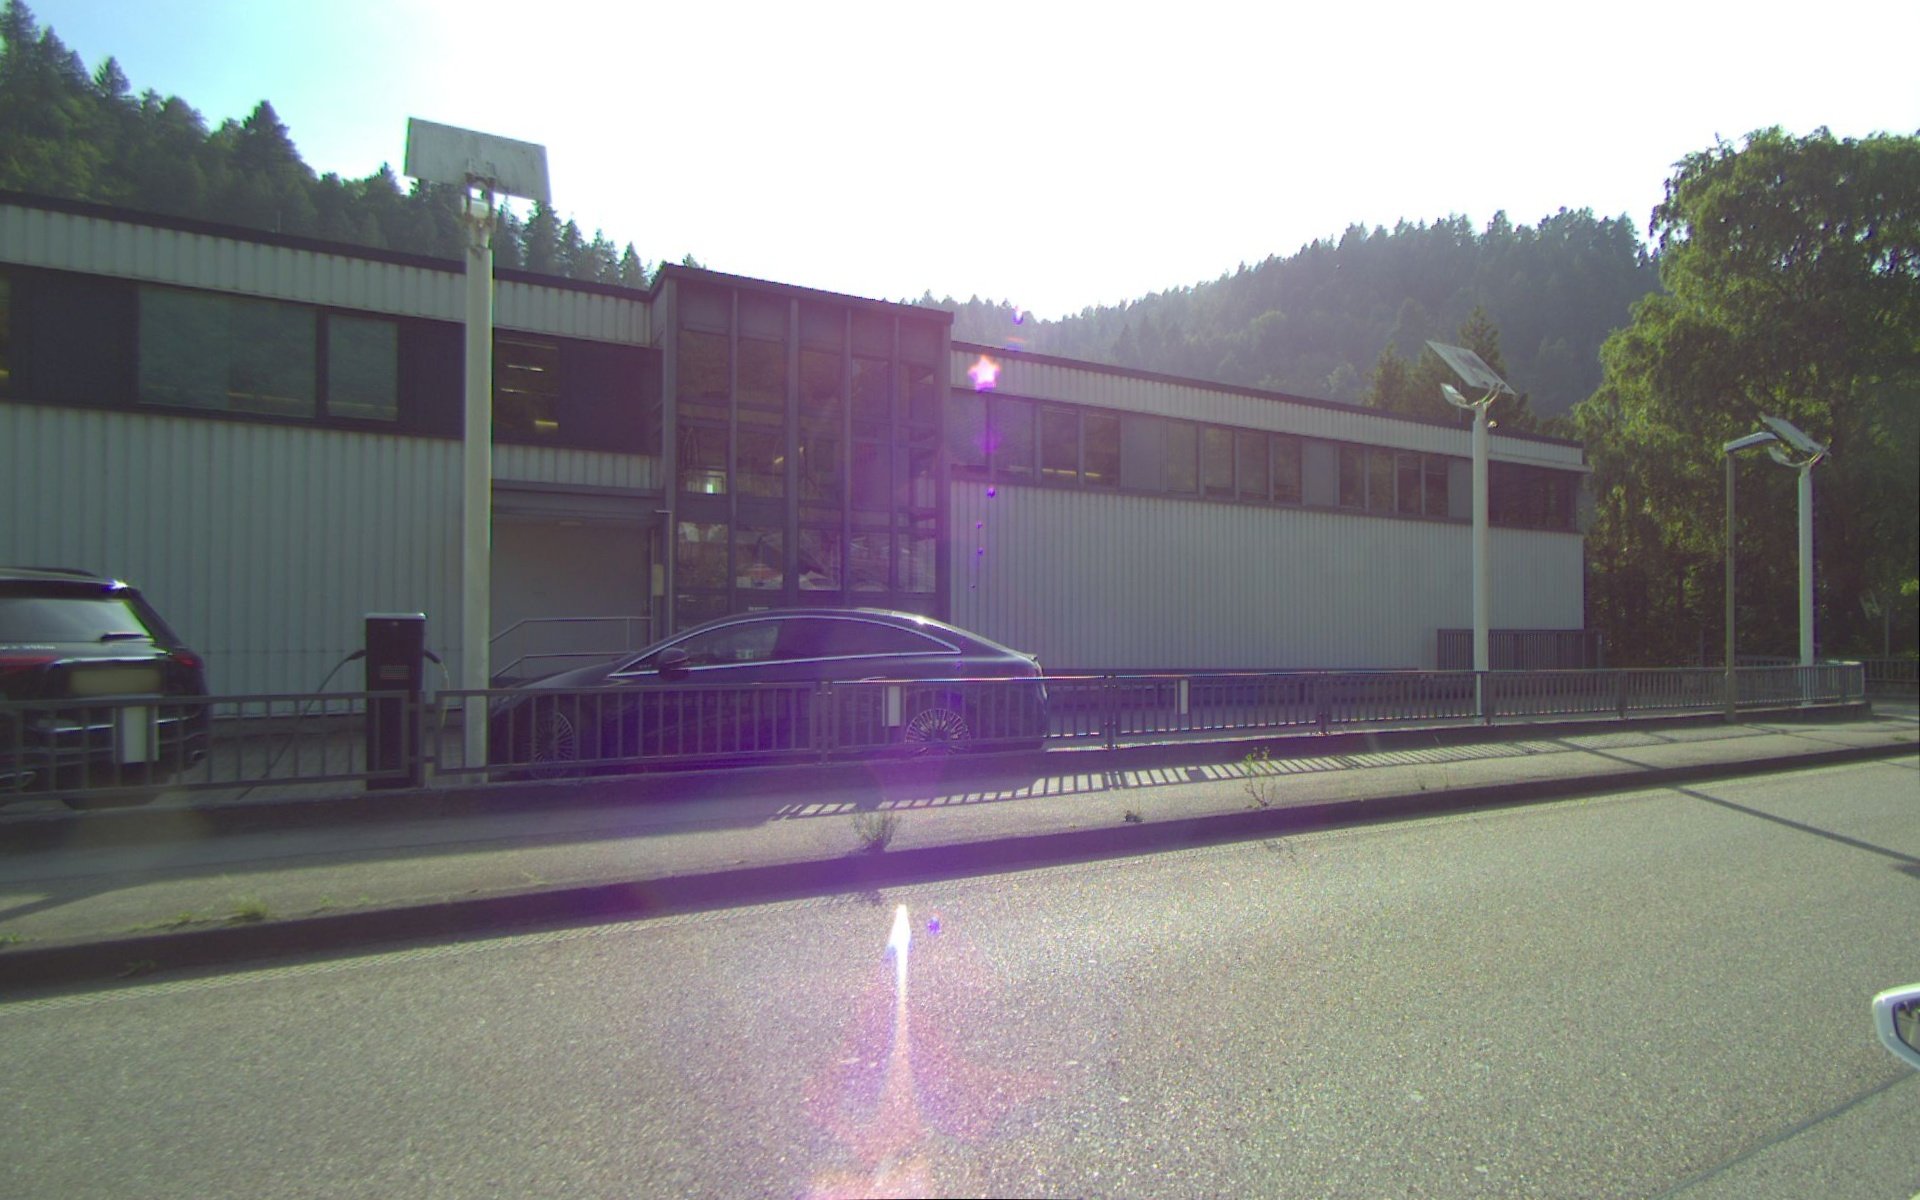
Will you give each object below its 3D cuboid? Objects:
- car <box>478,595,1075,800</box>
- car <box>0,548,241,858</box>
[{"bbox_3d":[-1.487,0.825,9.132,4.759,1.582,1.999,1,-1,-3],"label":"car"},{"bbox_3d":[-7.696,0.636,6.627,4.596,1.764,2.001,-1,-1,5],"label":"car"}]
